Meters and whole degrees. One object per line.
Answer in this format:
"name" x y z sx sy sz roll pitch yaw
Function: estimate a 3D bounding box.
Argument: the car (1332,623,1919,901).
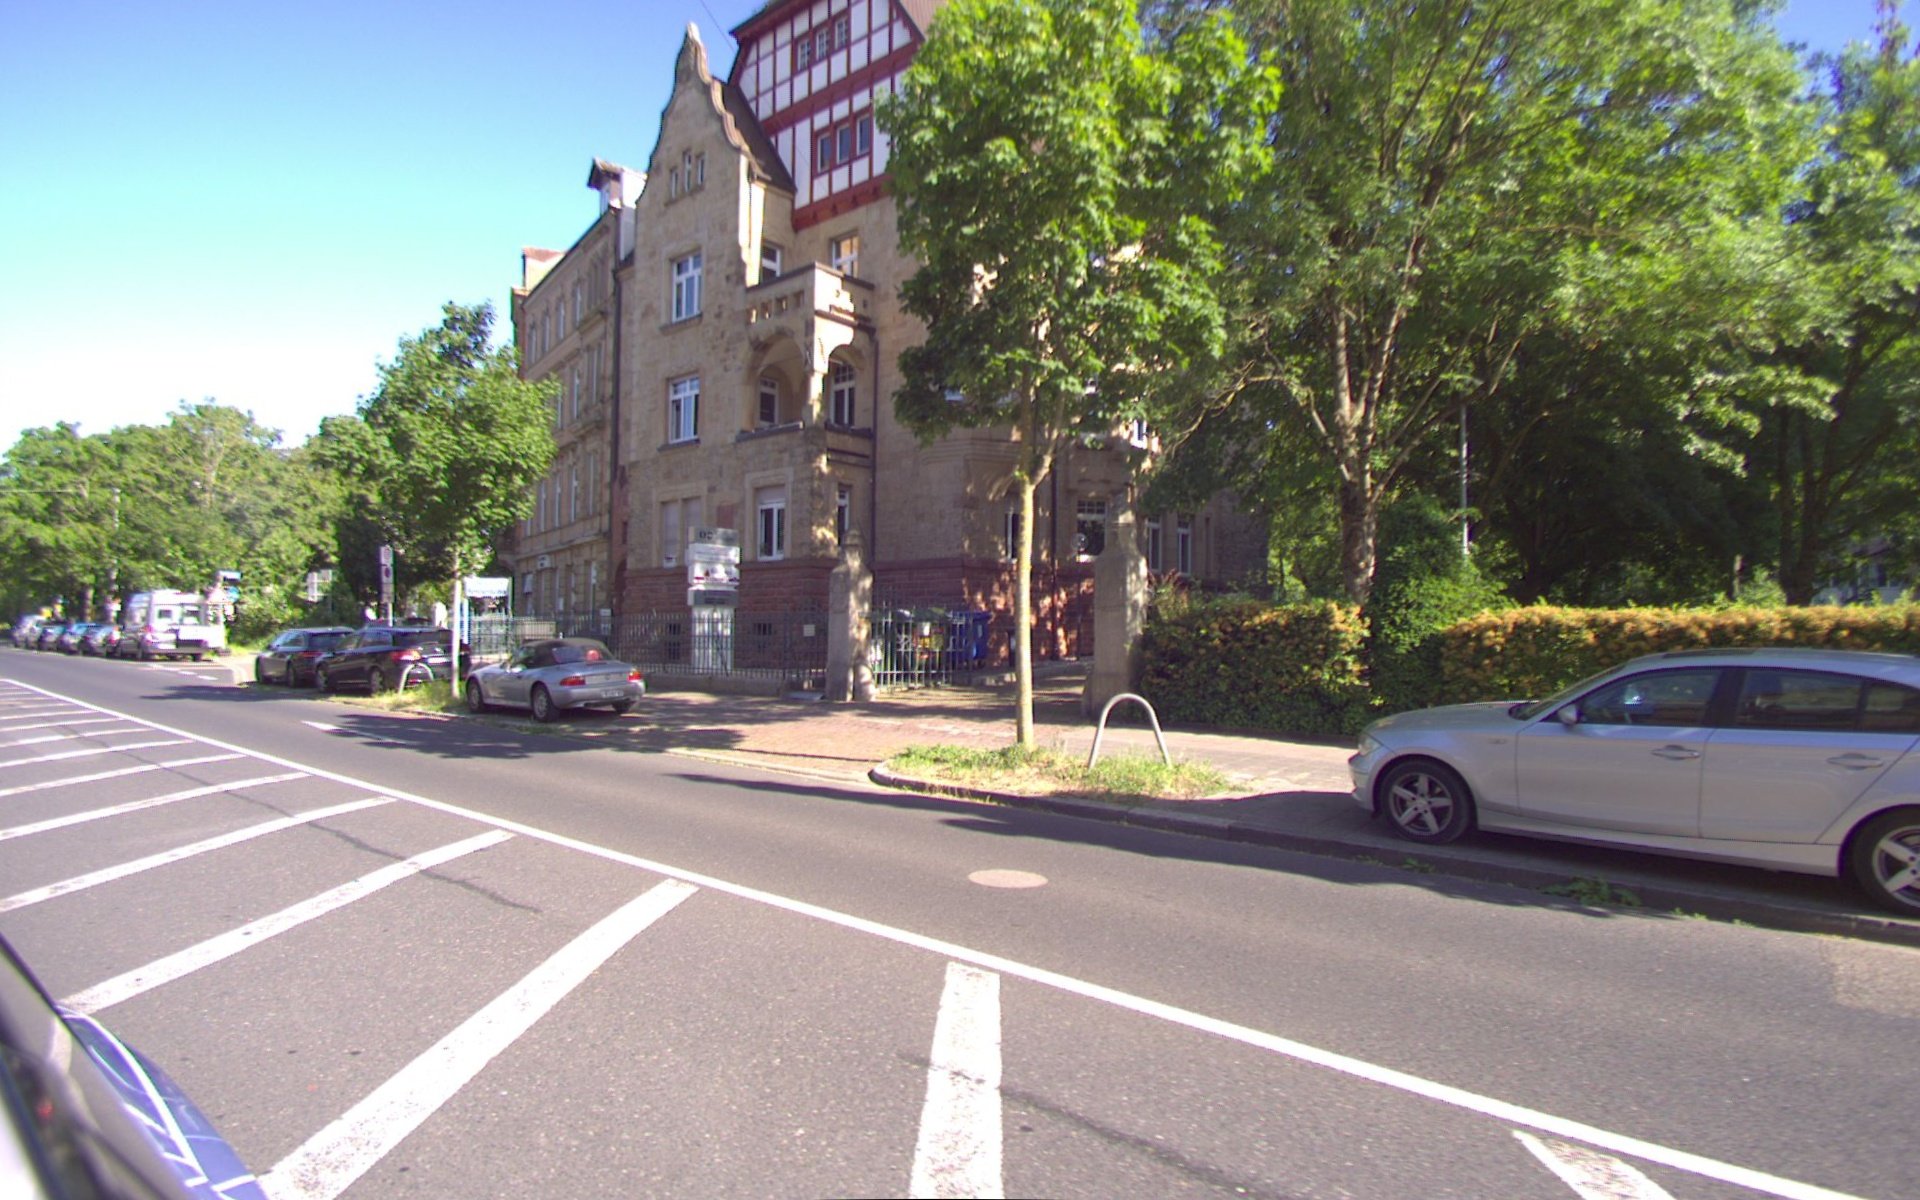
"car" 4.905 0.900 6.774 4.191 1.393 1.670 -1 2 43

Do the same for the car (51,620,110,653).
"car" -45.792 1.865 52.678 4.557 1.549 1.761 0 0 42

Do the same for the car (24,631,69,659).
"car" -53.541 2.621 59.298 3.956 1.513 1.449 -1 -3 41

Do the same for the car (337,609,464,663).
"car" -20.370 1.276 37.089 1.976 1.682 4.135 -3 1 7

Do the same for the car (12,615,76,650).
"car" -57.027 2.020 63.002 4.867 2.052 1.965 -1 -4 37

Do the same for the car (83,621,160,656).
"car" -36.590 1.673 44.108 4.659 1.468 1.676 -1 -4 39

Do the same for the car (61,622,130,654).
"car" -40.342 1.766 47.203 4.402 1.424 1.762 -1 -4 41

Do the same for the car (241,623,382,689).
"car" -16.886 1.371 26.257 4.718 1.438 1.836 -1 2 42

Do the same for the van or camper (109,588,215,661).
"van or camper" -32.199 0.991 40.771 6.084 2.760 2.193 -1 -2 41

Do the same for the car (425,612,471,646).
"car" -24.584 1.383 48.687 1.833 1.524 3.541 2 -1 -25

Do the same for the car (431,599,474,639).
"car" -26.670 0.973 53.321 1.833 1.928 4.466 2 -1 -25

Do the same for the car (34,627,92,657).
"car" -49.477 2.309 55.776 4.266 1.493 1.575 0 -3 38

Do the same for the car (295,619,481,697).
"car" -12.949 1.235 22.798 4.696 1.505 1.839 -1 1 36

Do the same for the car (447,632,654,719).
"car" -7.049 1.200 17.228 4.013 1.265 1.661 -1 -1 41
